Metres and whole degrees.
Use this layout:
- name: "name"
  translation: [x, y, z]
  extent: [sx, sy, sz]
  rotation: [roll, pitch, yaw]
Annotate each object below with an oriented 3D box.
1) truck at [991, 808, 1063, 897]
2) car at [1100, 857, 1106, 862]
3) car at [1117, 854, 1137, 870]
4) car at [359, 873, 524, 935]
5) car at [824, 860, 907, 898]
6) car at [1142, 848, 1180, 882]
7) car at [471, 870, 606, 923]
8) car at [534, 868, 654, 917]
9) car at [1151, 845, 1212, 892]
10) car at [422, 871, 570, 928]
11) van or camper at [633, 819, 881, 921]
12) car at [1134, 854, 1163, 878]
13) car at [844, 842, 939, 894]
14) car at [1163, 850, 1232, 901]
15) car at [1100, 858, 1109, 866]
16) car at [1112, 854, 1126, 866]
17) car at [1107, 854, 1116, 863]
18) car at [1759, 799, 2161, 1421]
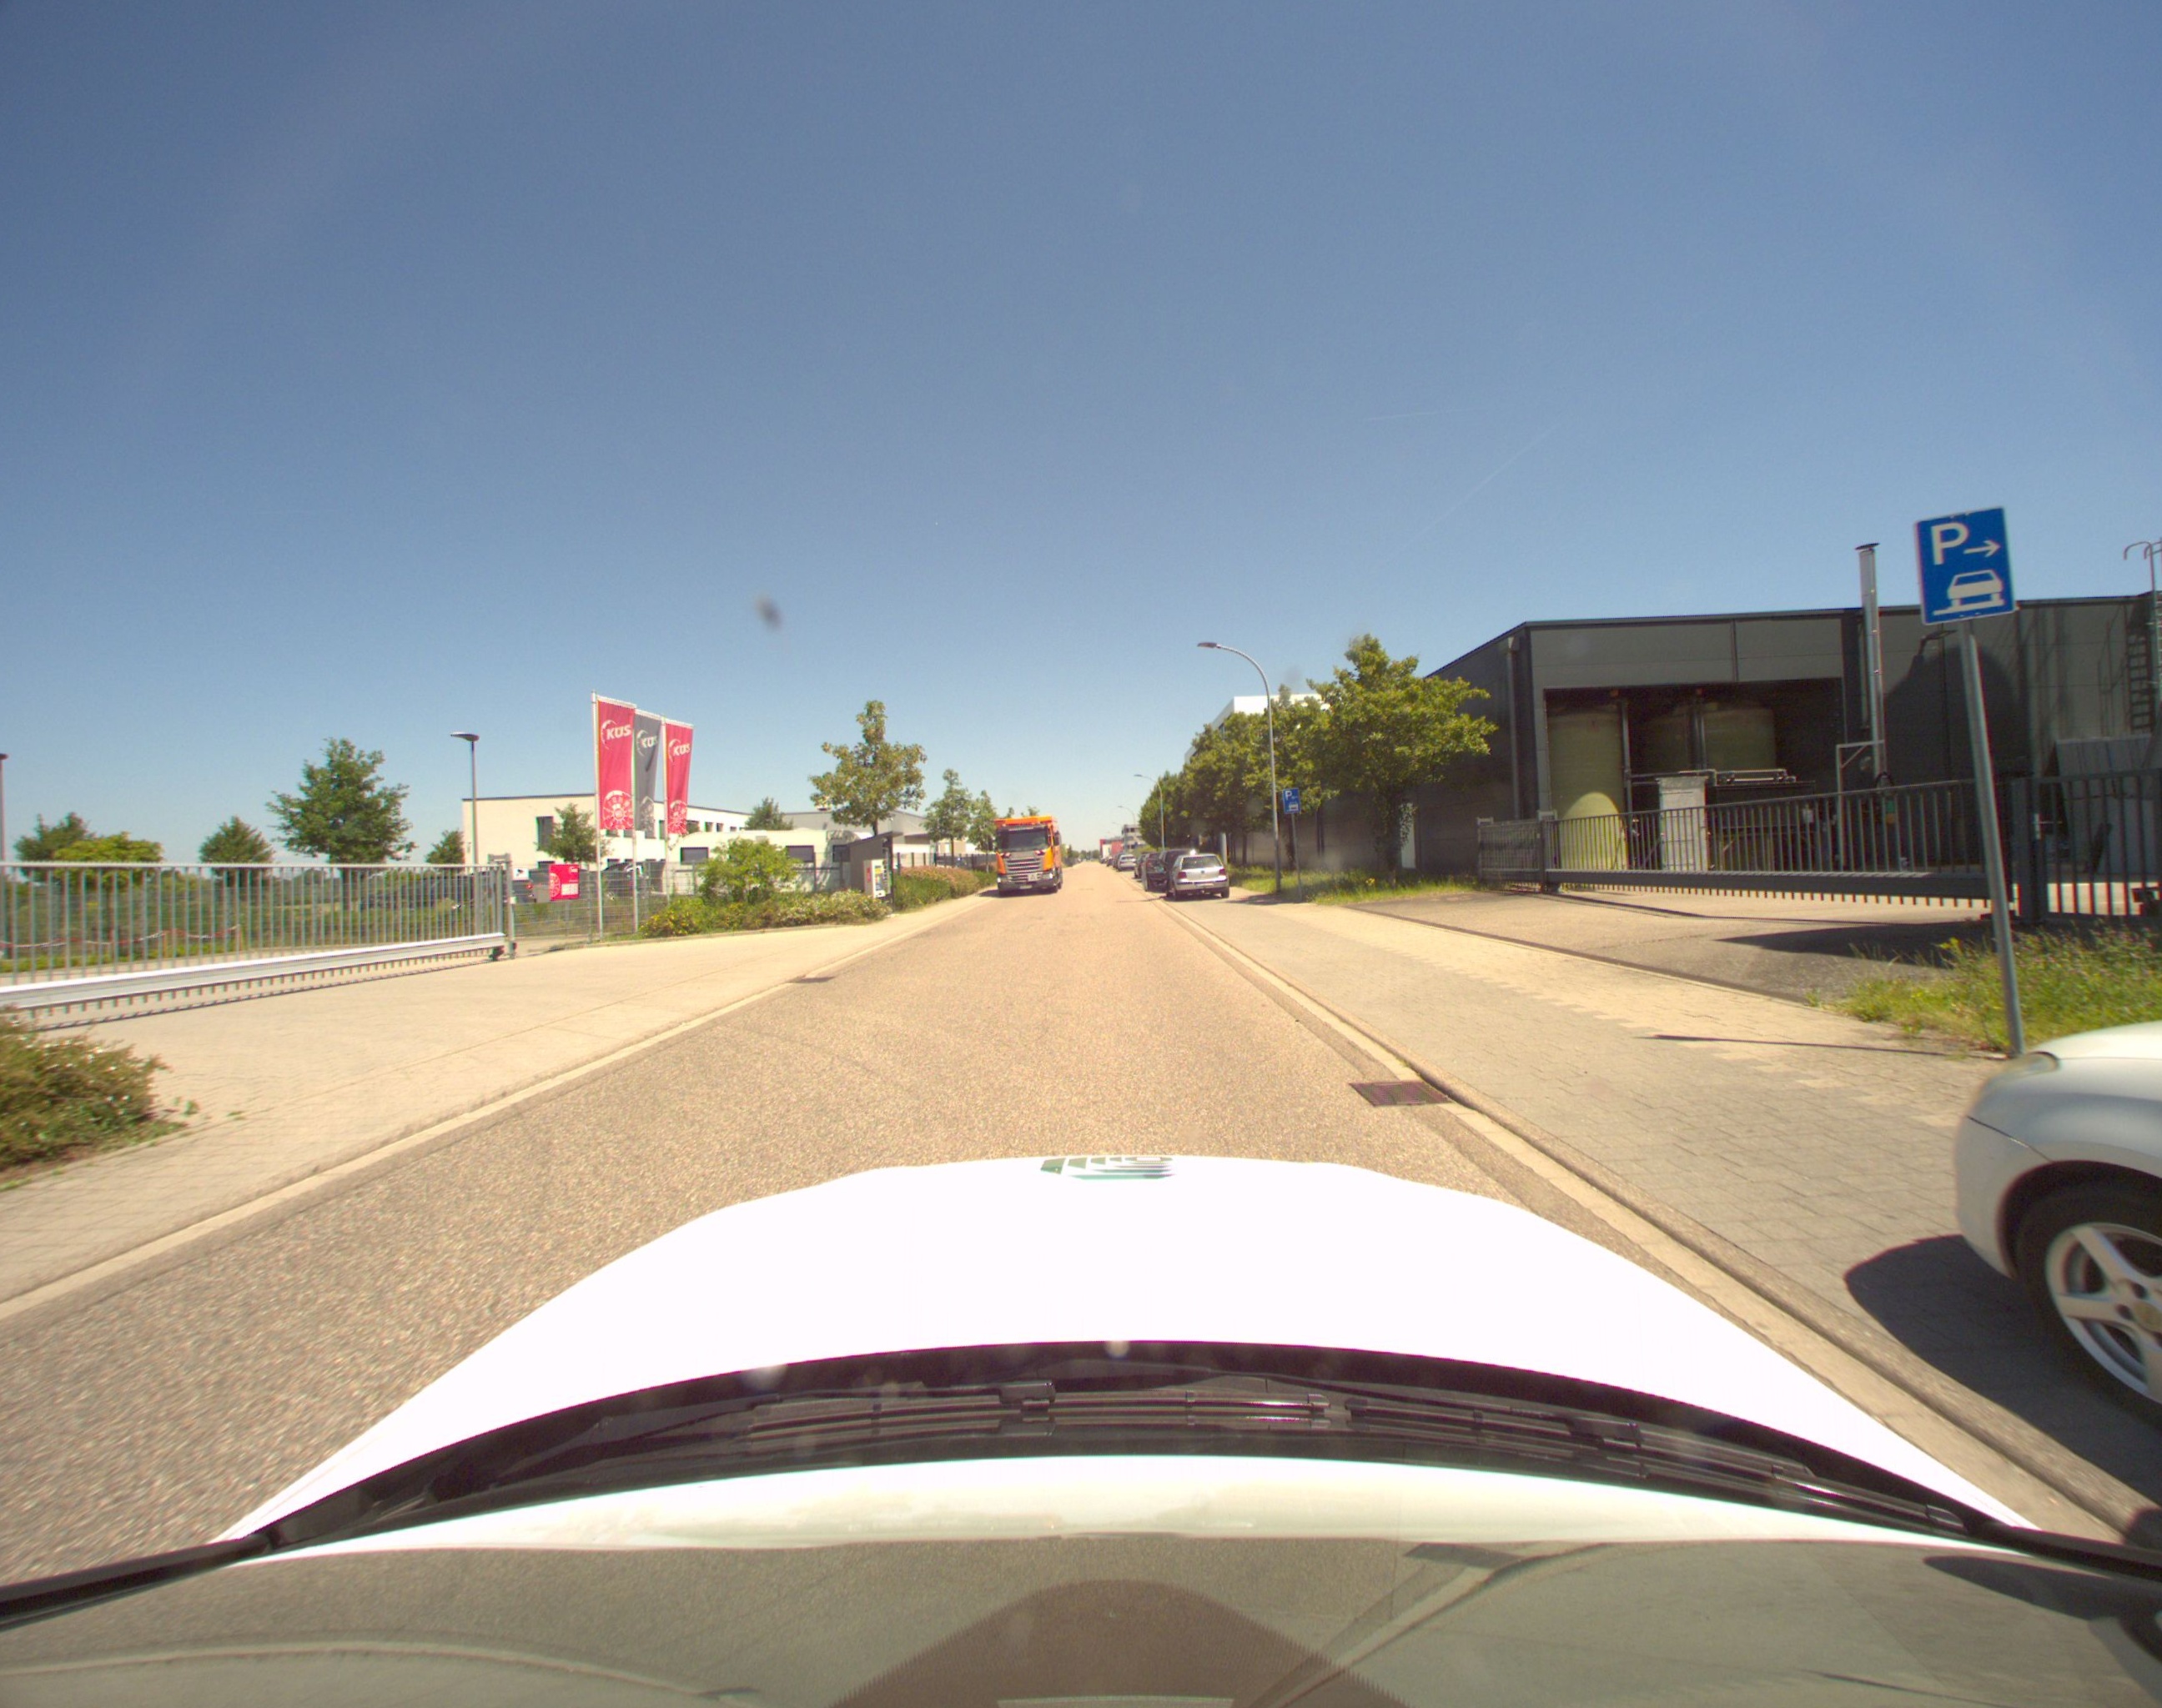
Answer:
- name: "truck"
  translation: [-2.301, -0.073, 37.588]
  extent: [2.440, 3.513, 8.273]
  rotation: [-4, 0, 1]
- name: "car"
  translation: [6.718, 1.651, 248.849]
  extent: [1.490, 1.409, 3.500]
  rotation: [-3, 0, 1]
- name: "car"
  translation: [4.170, 0.708, 73.565]
  extent: [1.579, 1.409, 3.500]
  rotation: [-3, 0, 1]
- name: "car"
  translation: [-21.637, 1.660, 27.669]
  extent: [3.974, 1.816, 1.916]
  rotation: [-3, 0, -1]
- name: "car"
  translation: [-10.241, 1.195, 38.887]
  extent: [3.477, 1.611, 1.500]
  rotation: [-3, 0, 0]
- name: "car"
  translation: [4.306, 0.579, 44.411]
  extent: [1.715, 1.694, 3.985]
  rotation: [-3, 0, 1]
- name: "car"
  translation: [-21.540, 1.663, 32.443]
  extent: [3.974, 1.816, 1.916]
  rotation: [-3, 0, -1]
- name: "car"
  translation: [-21.178, 1.651, 35.523]
  extent: [3.974, 1.816, 1.916]
  rotation: [-3, 0, -1]
- name: "car"
  translation: [3.938, 0.564, 32.600]
  extent: [1.674, 1.686, 3.995]
  rotation: [-3, 0, -3]
- name: "car"
  translation: [-21.554, 1.658, 30.117]
  extent: [3.974, 1.816, 1.916]
  rotation: [-3, 0, -1]
- name: "van or camper"
  translation: [-11.115, 0.546, 28.483]
  extent: [7.361, 3.037, 2.790]
  rotation: [-3, 0, -1]
- name: "car"
  translation: [4.152, 0.731, 50.742]
  extent: [1.490, 1.409, 3.500]
  rotation: [-3, 0, 1]
- name: "car"
  translation: [-10.346, 0.746, 44.784]
  extent: [4.705, 2.586, 1.998]
  rotation: [-3, 0, -4]
- name: "car"
  translation: [3.716, 0.653, 26.559]
  extent: [1.712, 1.450, 3.646]
  rotation: [-3, 0, 1]
- name: "car"
  translation: [4.403, 1.582, 153.579]
  extent: [1.490, 1.409, 3.500]
  rotation: [-3, 0, 1]
- name: "car"
  translation: [4.452, 0.717, 96.755]
  extent: [1.490, 1.409, 3.500]
  rotation: [-3, 0, 1]
- name: "car"
  translation: [5.177, 0.790, 137.900]
  extent: [1.490, 1.409, 3.500]
  rotation: [-3, 0, 1]
- name: "car"
  translation: [3.369, 0.574, 1.136]
  extent: [1.631, 1.469, 3.744]
  rotation: [-4, 0, -1]
